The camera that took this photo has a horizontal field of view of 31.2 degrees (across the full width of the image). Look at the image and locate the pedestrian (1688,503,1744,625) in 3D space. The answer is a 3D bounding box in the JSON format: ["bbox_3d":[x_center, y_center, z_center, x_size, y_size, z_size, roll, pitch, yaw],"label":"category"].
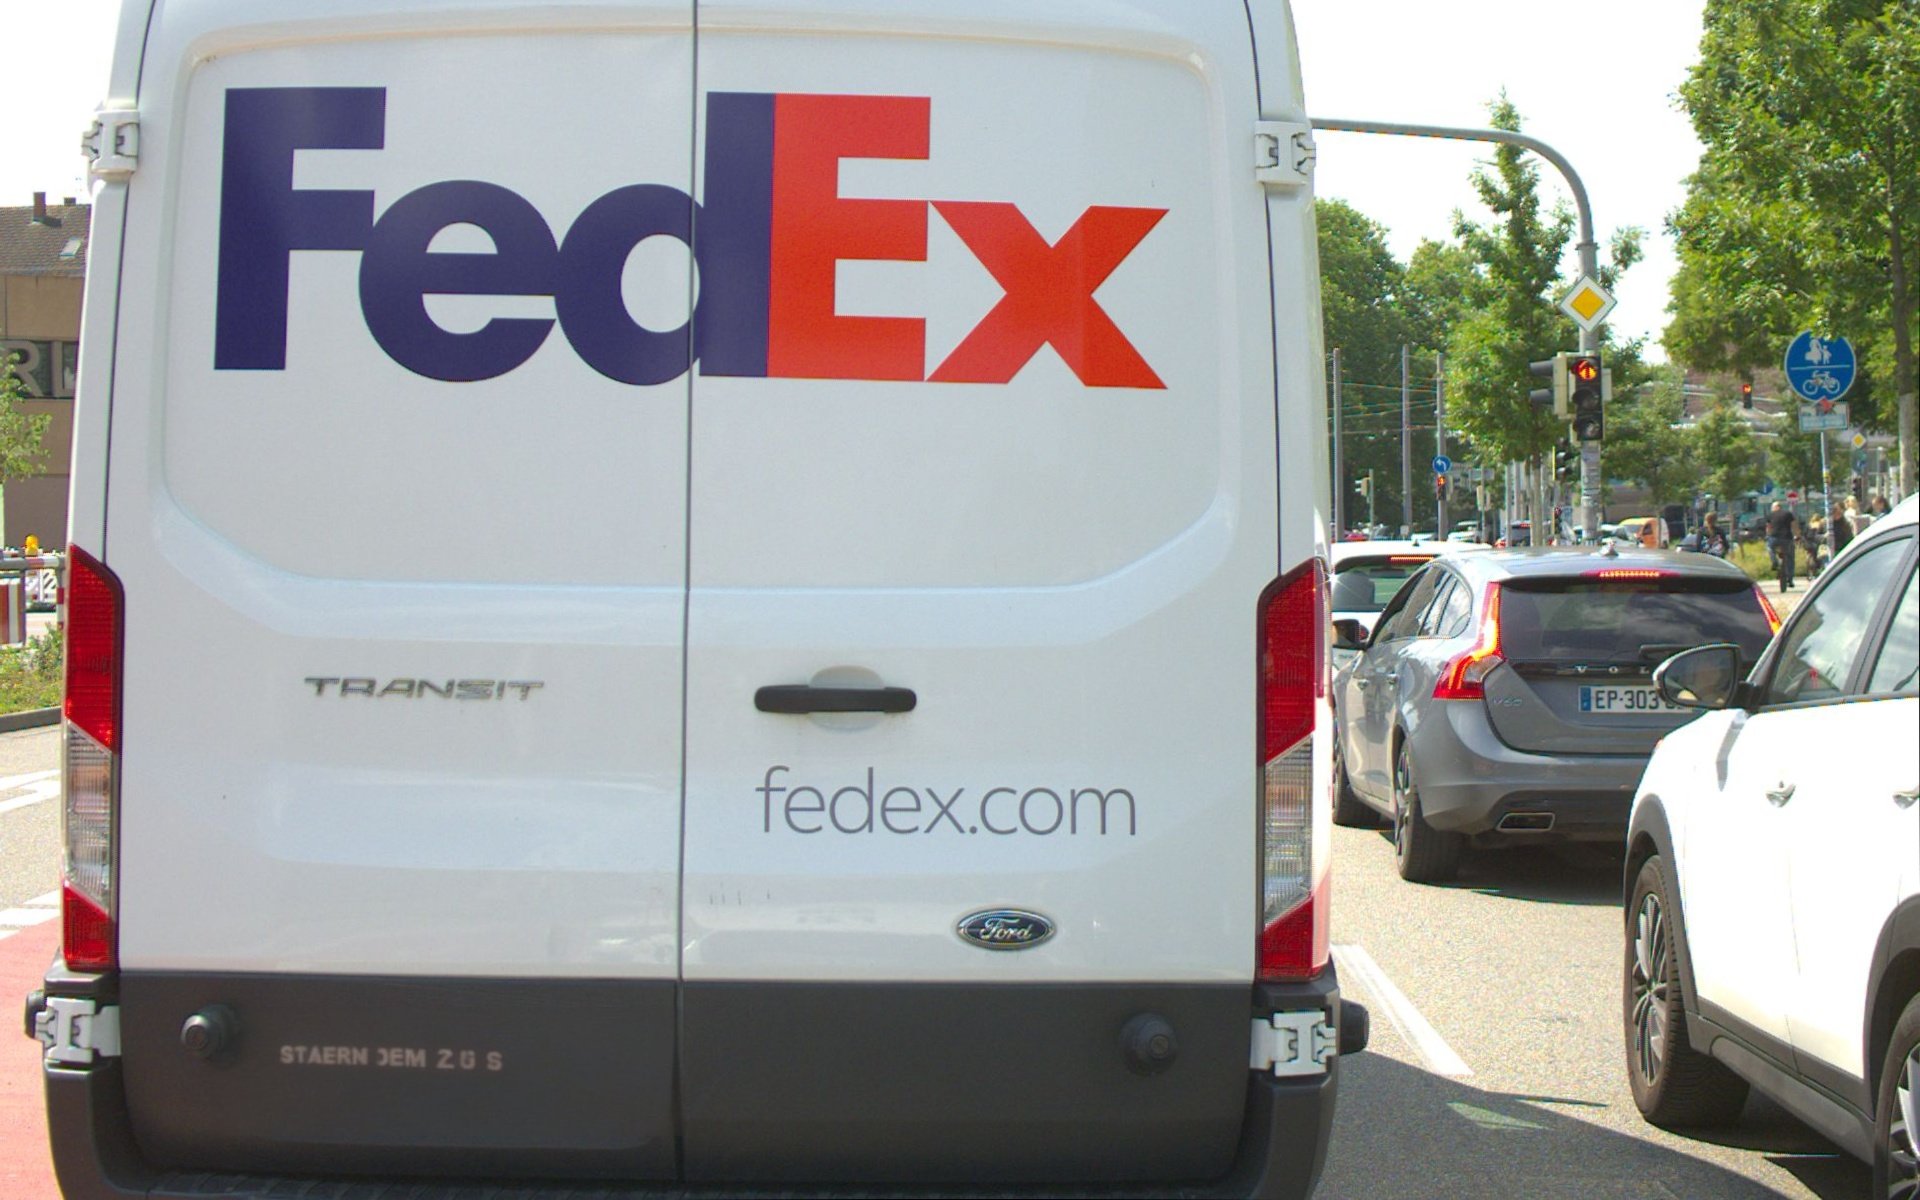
[{"bbox_3d":[11.612,-0.557,52.784,0.759,1.843,0.815,0,1,18],"label":"pedestrian"}]

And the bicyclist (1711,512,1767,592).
[{"bbox_3d":[21.307,-1.309,94.052,1.433,2.164,1.338,0,1,15],"label":"bicyclist"}]

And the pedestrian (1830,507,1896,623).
[{"bbox_3d":[14.587,-0.575,55.542,0.758,1.843,0.816,-1,1,-10],"label":"pedestrian"}]

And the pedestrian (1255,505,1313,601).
[{"bbox_3d":[6.299,-0.926,66.937,0.759,1.843,0.816,-2,2,-36],"label":"pedestrian"}]

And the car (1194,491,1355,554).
[{"bbox_3d":[14.113,-3.488,154.297,7.063,2.708,2.496,1,0,5],"label":"car"}]

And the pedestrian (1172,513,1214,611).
[{"bbox_3d":[4.414,-0.720,65.154,0.759,1.843,0.816,0,1,2],"label":"pedestrian"}]

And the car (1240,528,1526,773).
[{"bbox_3d":[2.713,0.269,22.612,1.499,1.459,3.474,0,1,1],"label":"car"}]

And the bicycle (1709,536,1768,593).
[{"bbox_3d":[21.252,-0.975,93.806,1.426,1.459,4.308,0,2,15],"label":"bicycle"}]

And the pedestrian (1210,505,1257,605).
[{"bbox_3d":[5.093,-0.834,64.035,0.758,1.843,0.816,-1,1,-3],"label":"pedestrian"}]

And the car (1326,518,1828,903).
[{"bbox_3d":[2.700,0.407,15.806,1.691,1.543,3.720,0,1,1],"label":"car"}]

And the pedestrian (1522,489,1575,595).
[{"bbox_3d":[10.256,-1.014,59.908,0.813,1.843,0.761,0,1,3],"label":"pedestrian"}]

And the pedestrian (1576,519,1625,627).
[{"bbox_3d":[11.002,-0.468,59.047,0.759,1.843,0.816,0,1,15],"label":"pedestrian"}]

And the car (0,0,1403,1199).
[{"bbox_3d":[-0.397,0.079,6.946,2.072,2.572,4.428,0,1,1],"label":"car"}]

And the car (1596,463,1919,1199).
[{"bbox_3d":[2.582,0.559,7.208,1.814,1.673,3.974,0,1,1],"label":"car"}]

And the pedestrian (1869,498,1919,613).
[{"bbox_3d":[15.341,-0.730,56.013,0.758,1.843,0.816,-1,1,-8],"label":"pedestrian"}]

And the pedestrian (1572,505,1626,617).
[{"bbox_3d":[10.545,-0.647,56.687,0.759,1.843,0.815,0,1,18],"label":"pedestrian"}]

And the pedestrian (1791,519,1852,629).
[{"bbox_3d":[13.161,-0.402,52.548,0.759,1.649,0.816,-1,1,3],"label":"pedestrian"}]
